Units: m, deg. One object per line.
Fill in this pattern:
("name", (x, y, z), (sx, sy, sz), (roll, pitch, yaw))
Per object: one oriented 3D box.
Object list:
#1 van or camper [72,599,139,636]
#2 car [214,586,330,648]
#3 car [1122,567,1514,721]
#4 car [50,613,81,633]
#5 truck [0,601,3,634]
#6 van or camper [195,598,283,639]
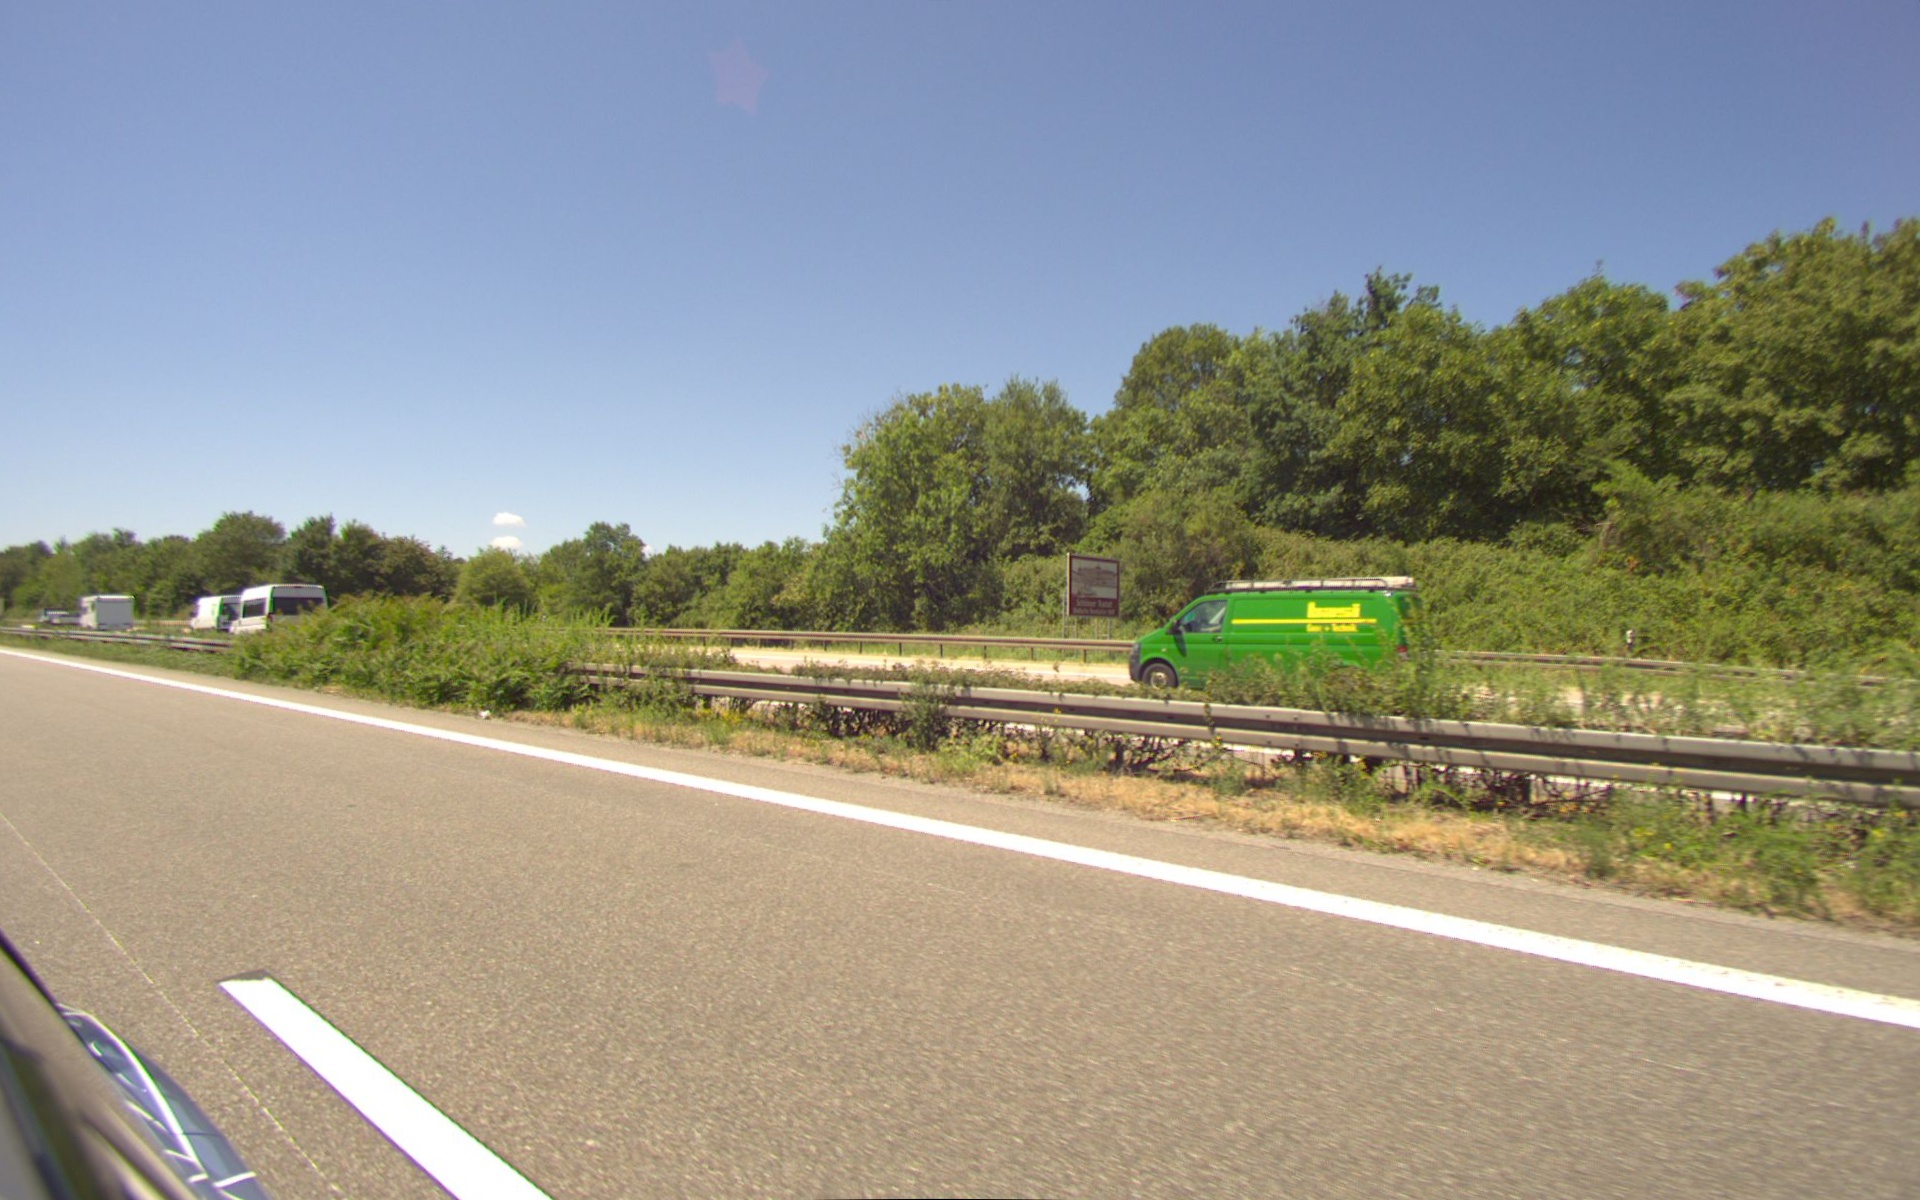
("van or camper", (-65.420, 1.370, 77.434), (6.743, 2.711, 2.912), (-1, -1, 41))
("car", (-26.891, 0.667, 39.438), (6.382, 2.203, 2.208), (-1, -1, 41))
("car", (5.934, 0.684, 17.395), (5.943, 2.203, 2.258), (-1, -1, 41))
("car", (-94.689, 2.415, 107.116), (3.997, 2.029, 1.973), (-1, 0, 41))
("truck", (-138.110, 2.452, 143.045), (8.581, 4.562, 3.078), (-1, -1, 40))
("van or camper", (-40.831, 1.029, 57.266), (6.743, 2.203, 2.579), (-1, -1, 41))
